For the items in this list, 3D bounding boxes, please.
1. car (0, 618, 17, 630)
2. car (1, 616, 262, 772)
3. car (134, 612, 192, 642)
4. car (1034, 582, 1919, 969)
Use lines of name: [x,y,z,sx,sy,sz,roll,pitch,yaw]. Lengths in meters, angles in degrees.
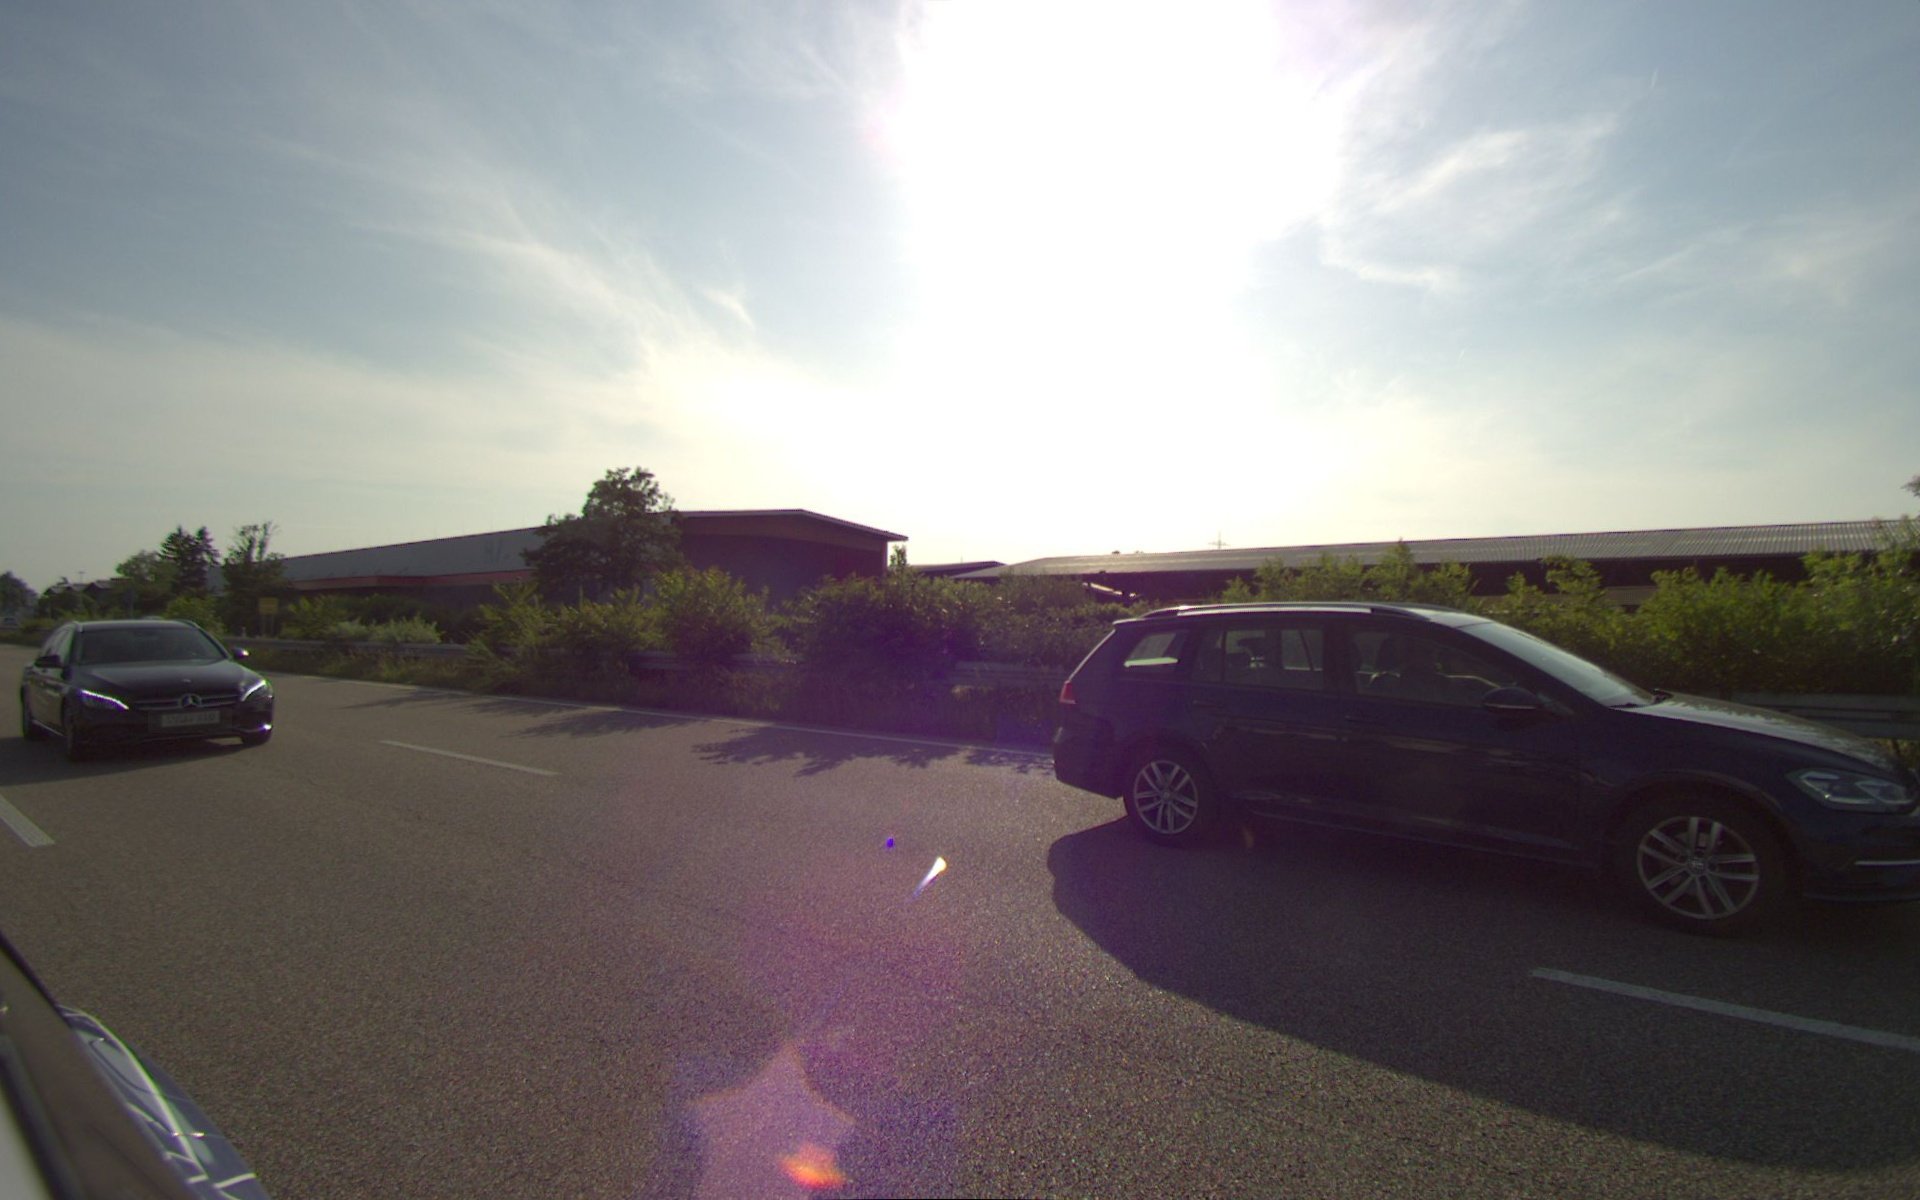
car: [-121.723,3.053,129.086,3.998,1.435,1.761,-1,-2,41]
car: [-9.851,0.937,11.867,5.020,1.482,1.556,-1,-1,41]
car: [-45.987,1.518,58.396,3.998,1.625,1.909,0,0,41]
car: [2.813,0.722,5.728,4.773,1.482,1.629,-1,-2,41]
